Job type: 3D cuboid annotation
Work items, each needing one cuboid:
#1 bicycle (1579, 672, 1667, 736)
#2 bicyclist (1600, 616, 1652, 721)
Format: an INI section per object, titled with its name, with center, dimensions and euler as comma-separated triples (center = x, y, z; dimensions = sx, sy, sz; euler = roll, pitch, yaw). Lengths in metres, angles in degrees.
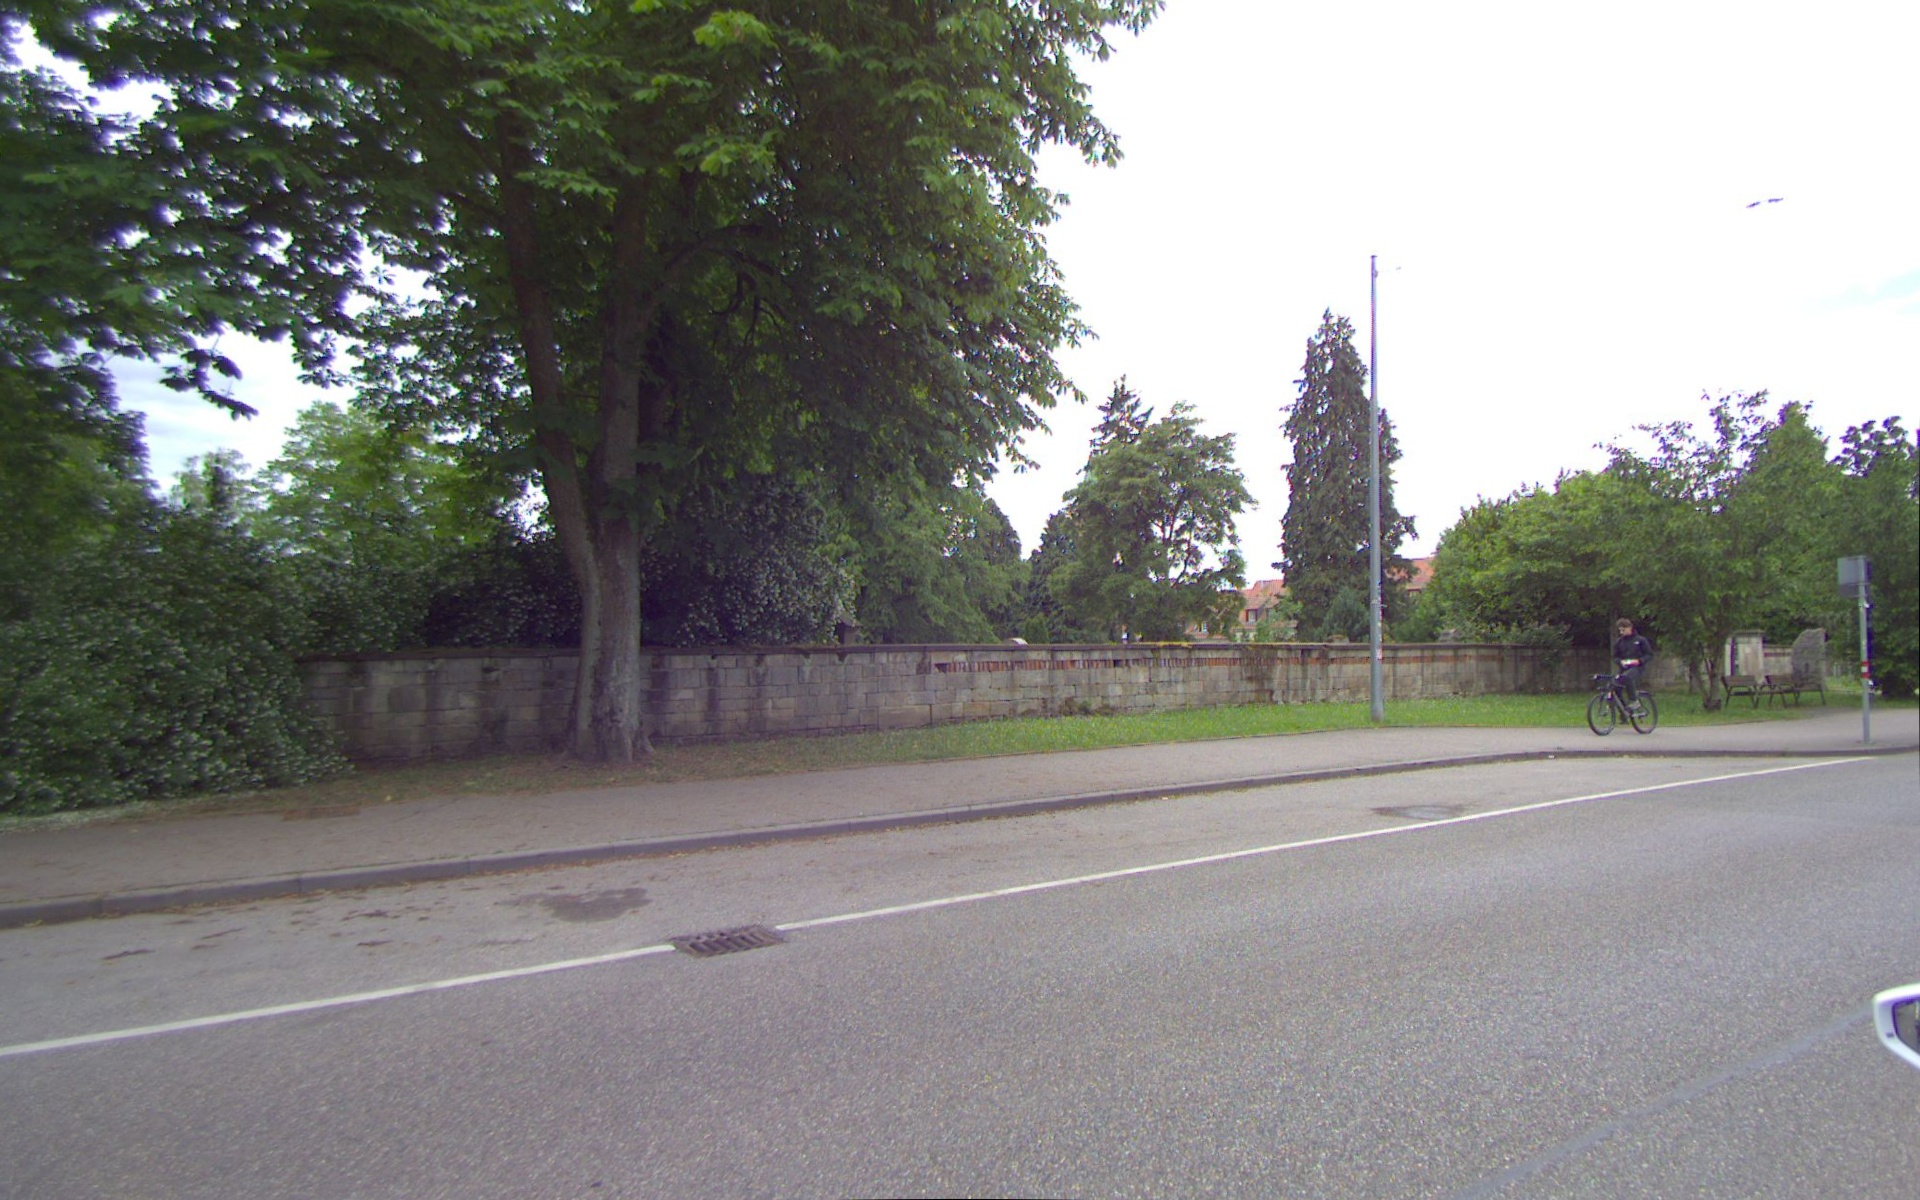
[bicycle]
center = 11.078, 1.716, 16.764
dimensions = 1.728, 0.977, 0.493
euler = 2, 0, -31
[bicyclist]
center = 11.124, 1.126, 16.778
dimensions = 0.581, 1.706, 0.485
euler = 2, 0, -30
